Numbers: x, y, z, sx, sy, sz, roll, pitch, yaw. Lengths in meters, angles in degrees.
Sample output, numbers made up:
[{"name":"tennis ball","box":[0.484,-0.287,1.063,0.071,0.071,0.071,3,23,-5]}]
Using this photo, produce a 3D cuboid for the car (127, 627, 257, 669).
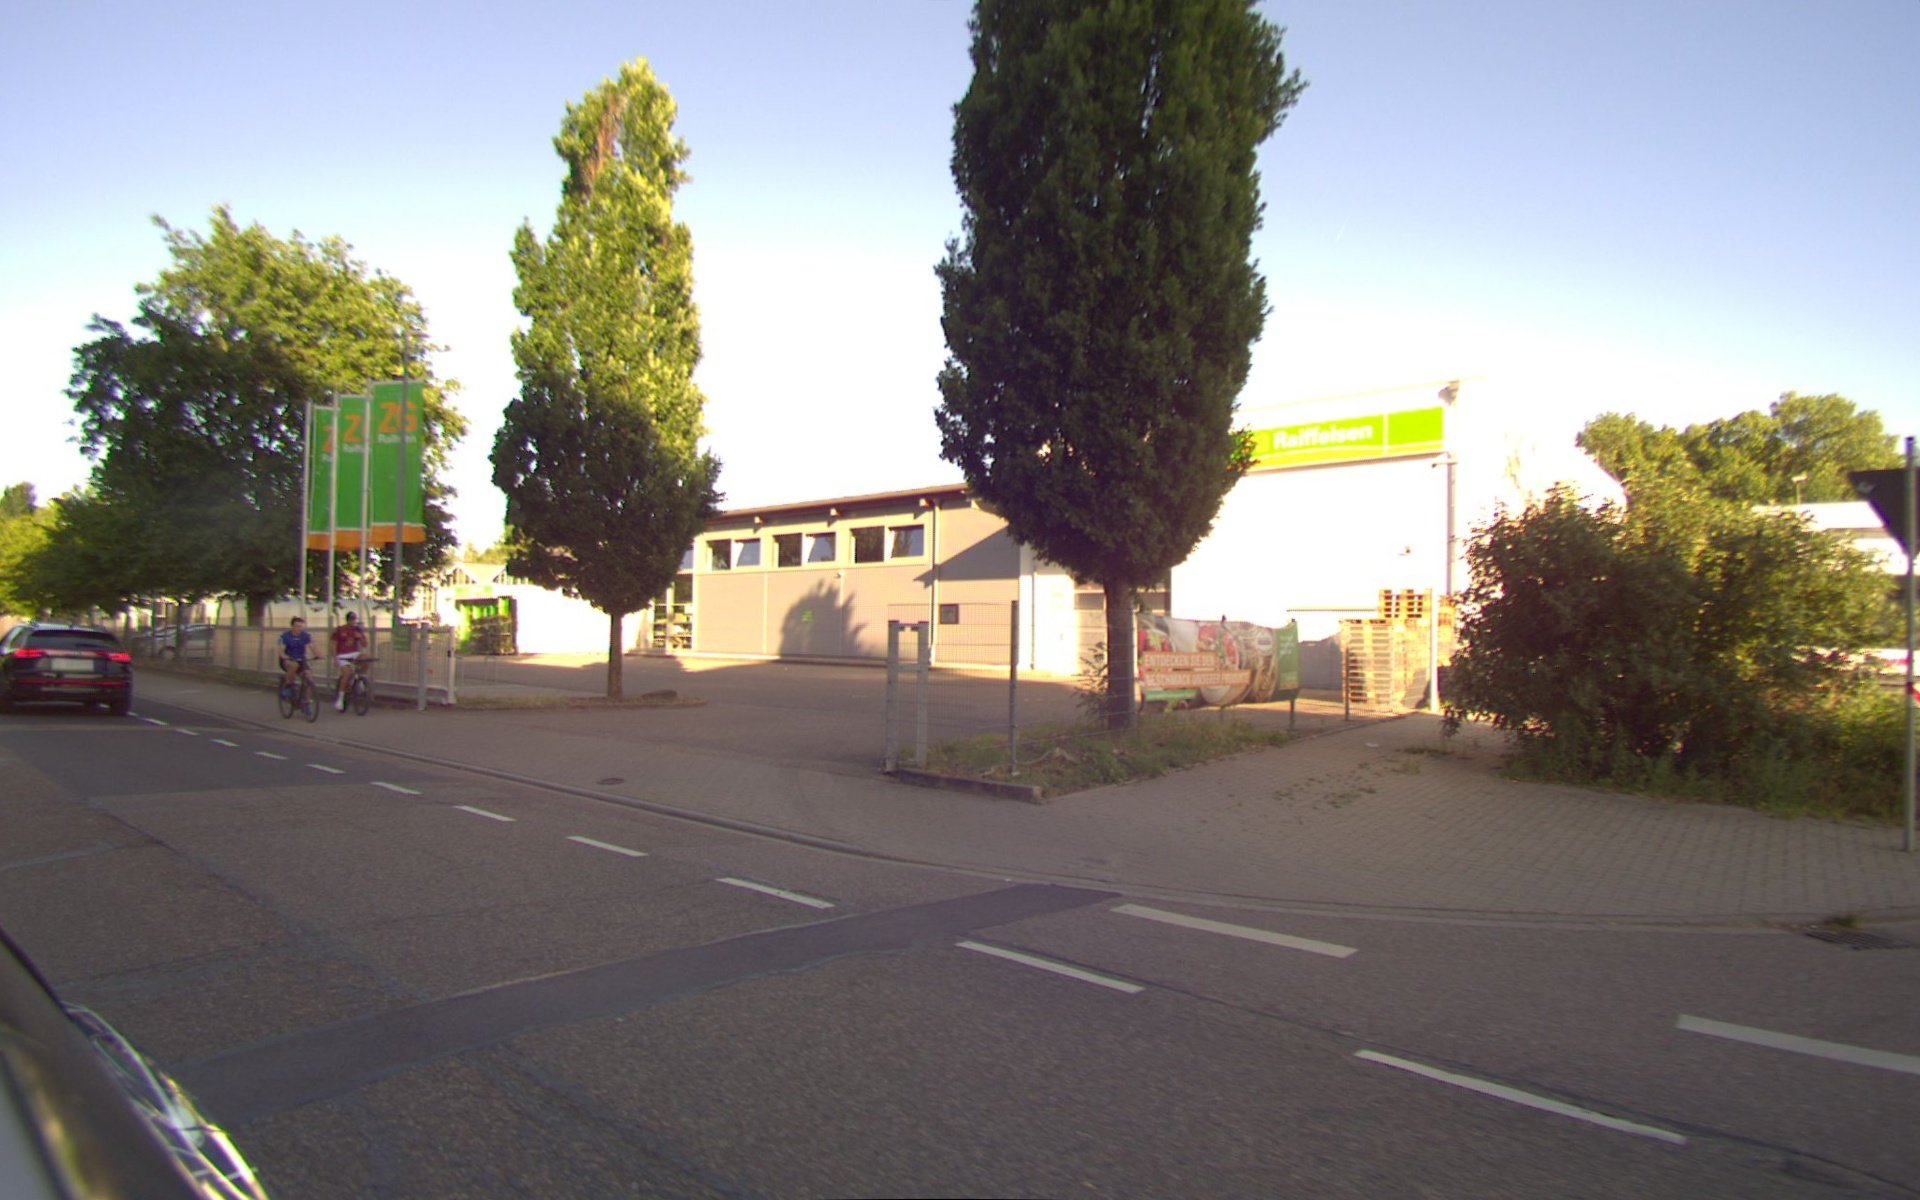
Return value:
[{"name":"car","box":[-31.269,1.994,41.298,1.784,1.523,3.849,-2,-6,40]}]

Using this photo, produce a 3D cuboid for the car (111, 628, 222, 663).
[{"name":"car","box":[-37.077,2.159,47.351,1.803,1.462,3.689,-2,-6,39]}]

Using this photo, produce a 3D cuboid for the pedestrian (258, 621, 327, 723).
[{"name":"pedestrian","box":[-11.764,1.246,17.837,1.056,1.734,0.713,-2,-3,41]}]

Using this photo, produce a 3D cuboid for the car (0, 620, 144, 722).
[{"name":"car","box":[-15.660,1.211,17.374,4.108,1.537,1.723,-2,-7,40]}]

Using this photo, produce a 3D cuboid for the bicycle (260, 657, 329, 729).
[{"name":"bicycle","box":[-11.840,1.620,17.967,2.200,1.157,0.441,-2,-2,41]}]

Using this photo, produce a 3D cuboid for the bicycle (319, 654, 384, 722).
[{"name":"bicycle","box":[-11.133,1.579,18.504,1.868,1.157,0.465,-2,-2,41]}]

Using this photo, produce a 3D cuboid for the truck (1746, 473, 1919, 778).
[{"name":"truck","box":[14.461,0.398,16.100,2.773,3.642,9.997,-1,-2,39]}]

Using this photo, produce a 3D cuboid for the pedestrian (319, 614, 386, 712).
[{"name":"pedestrian","box":[-11.151,1.139,18.570,1.056,1.734,0.713,-2,-3,41]}]
